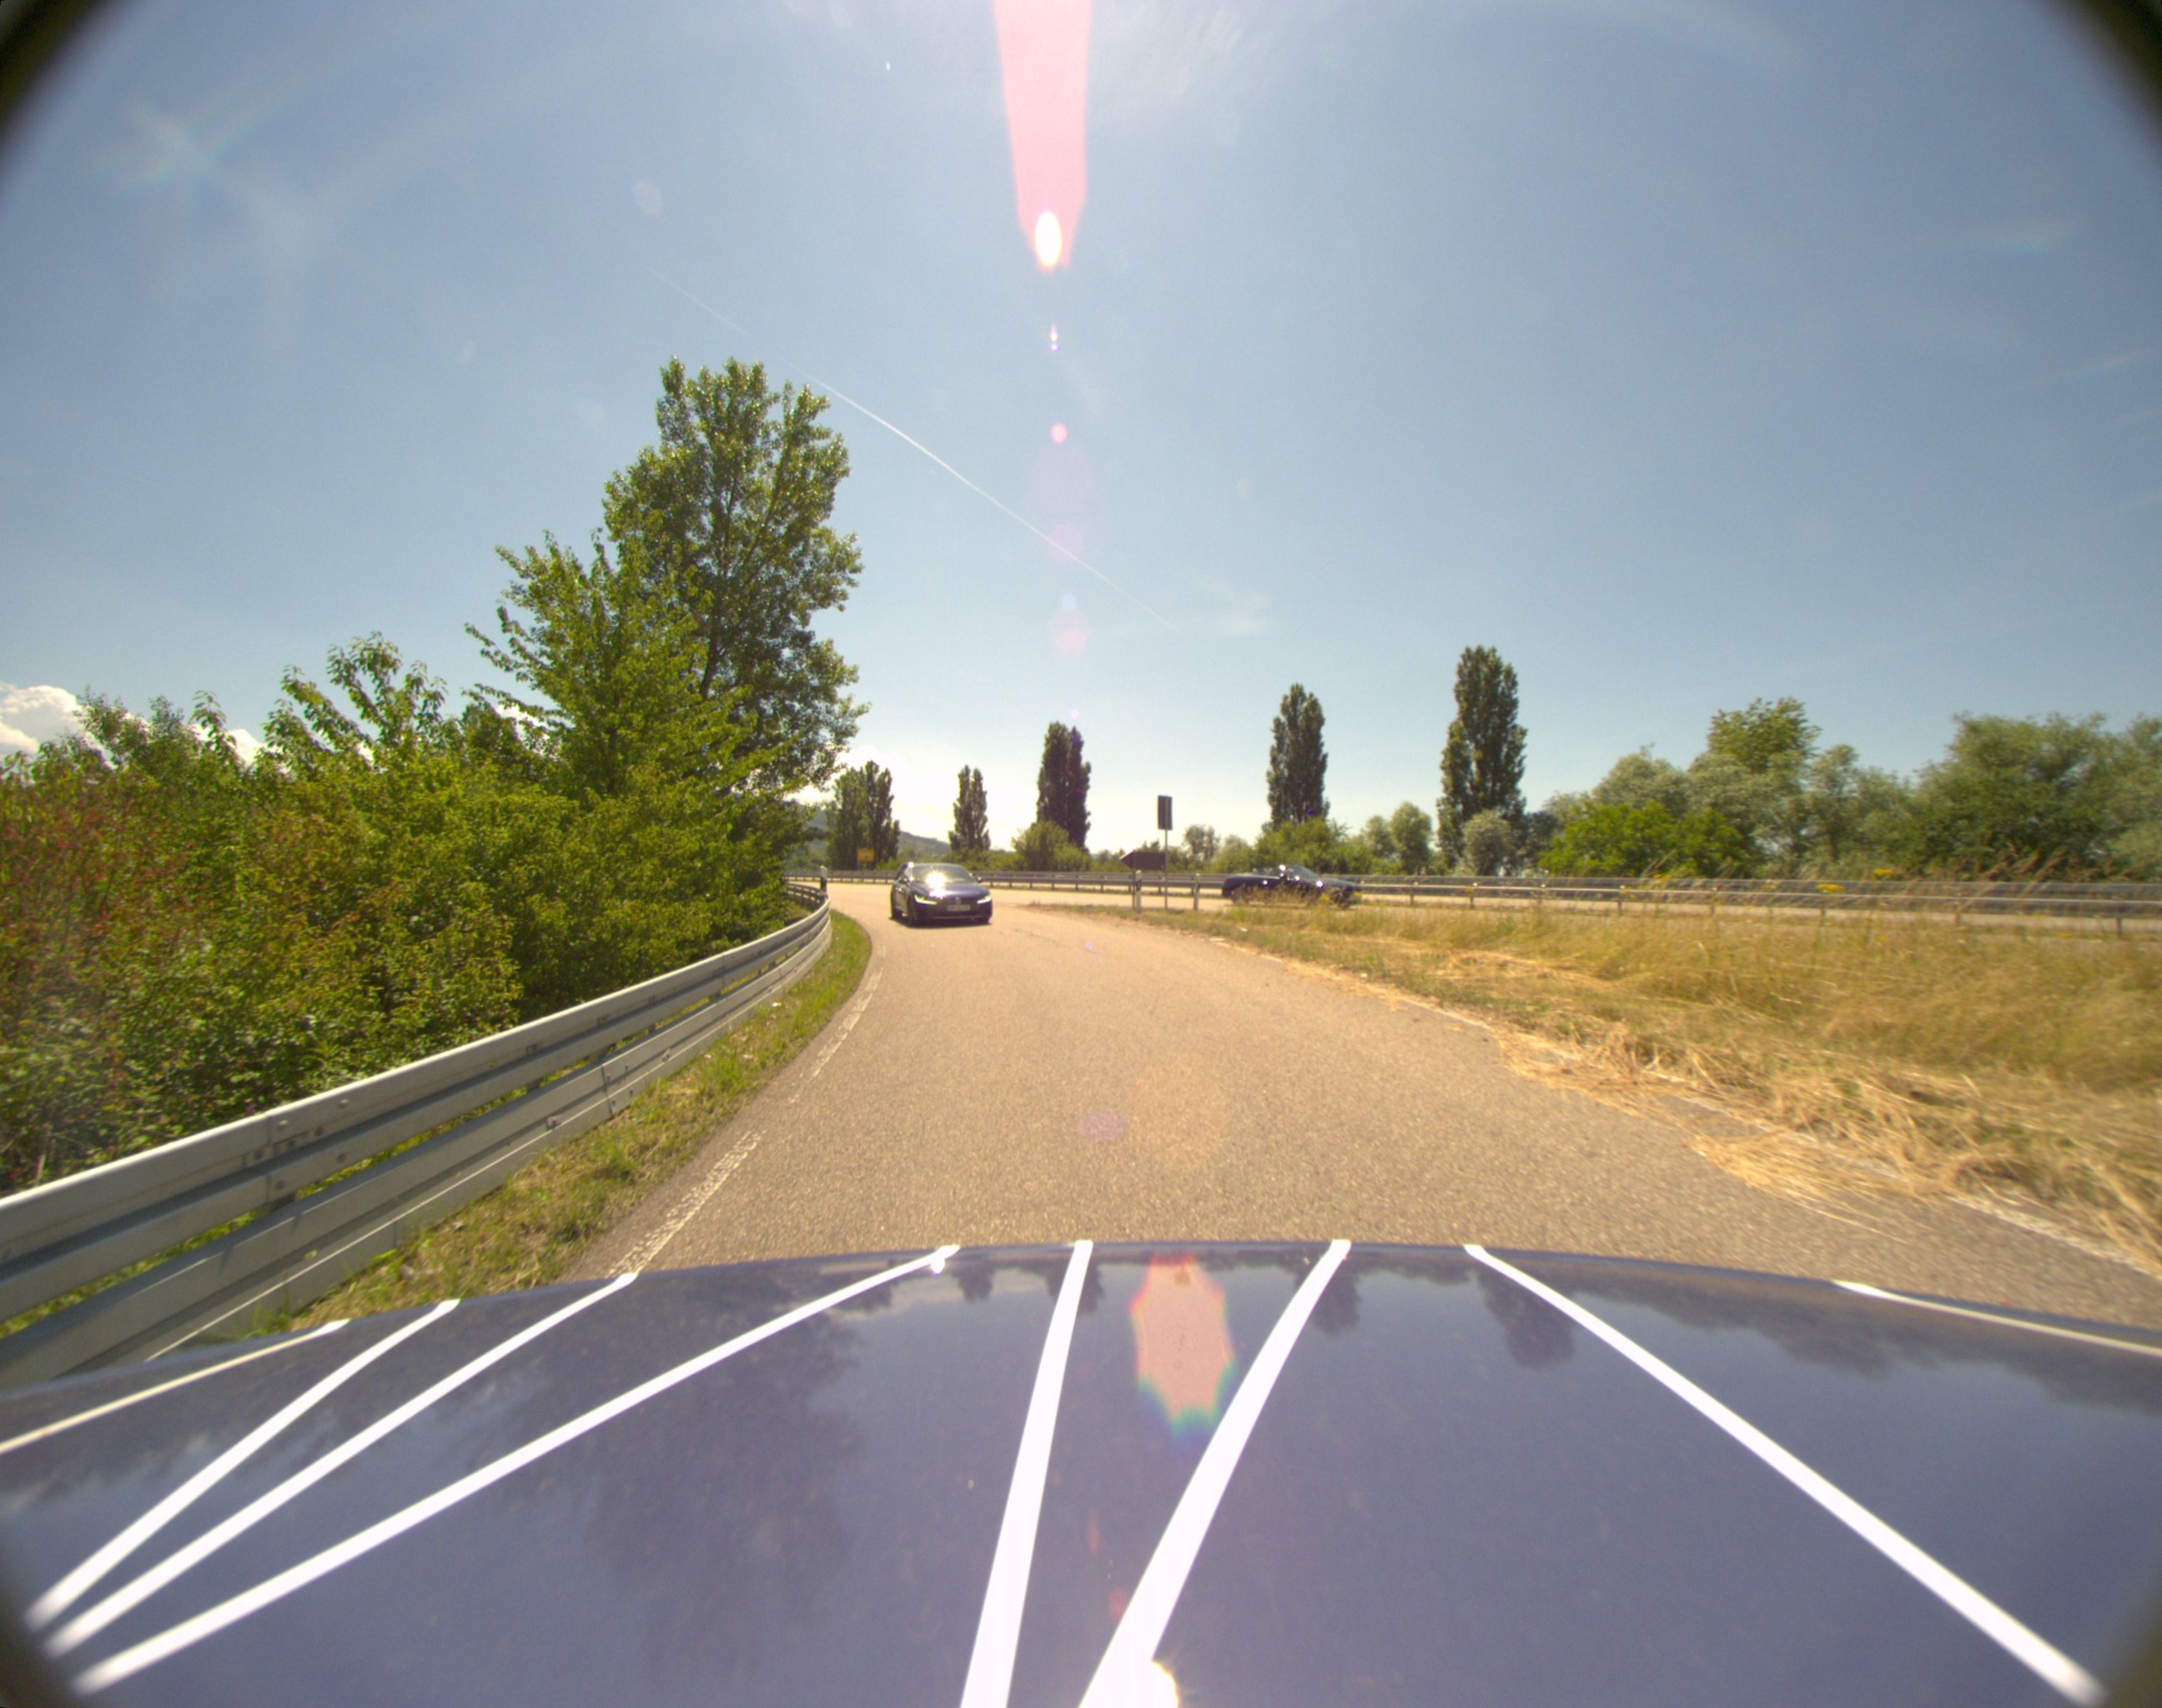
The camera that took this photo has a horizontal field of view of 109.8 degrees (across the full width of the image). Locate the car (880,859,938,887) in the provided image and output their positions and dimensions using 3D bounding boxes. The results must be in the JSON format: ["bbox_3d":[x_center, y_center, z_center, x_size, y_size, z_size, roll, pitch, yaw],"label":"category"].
[{"bbox_3d":[-10.516,1.168,46.358,1.835,1.602,3.989,-1,0,-40],"label":"car"}]

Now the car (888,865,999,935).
[{"bbox_3d":[-3.512,1.014,18.700,1.846,1.422,4.525,-2,0,-21],"label":"car"}]

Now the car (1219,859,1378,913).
[{"bbox_3d":[6.976,0.976,24.771,2.004,1.564,4.632,-1,0,-39],"label":"car"}]
